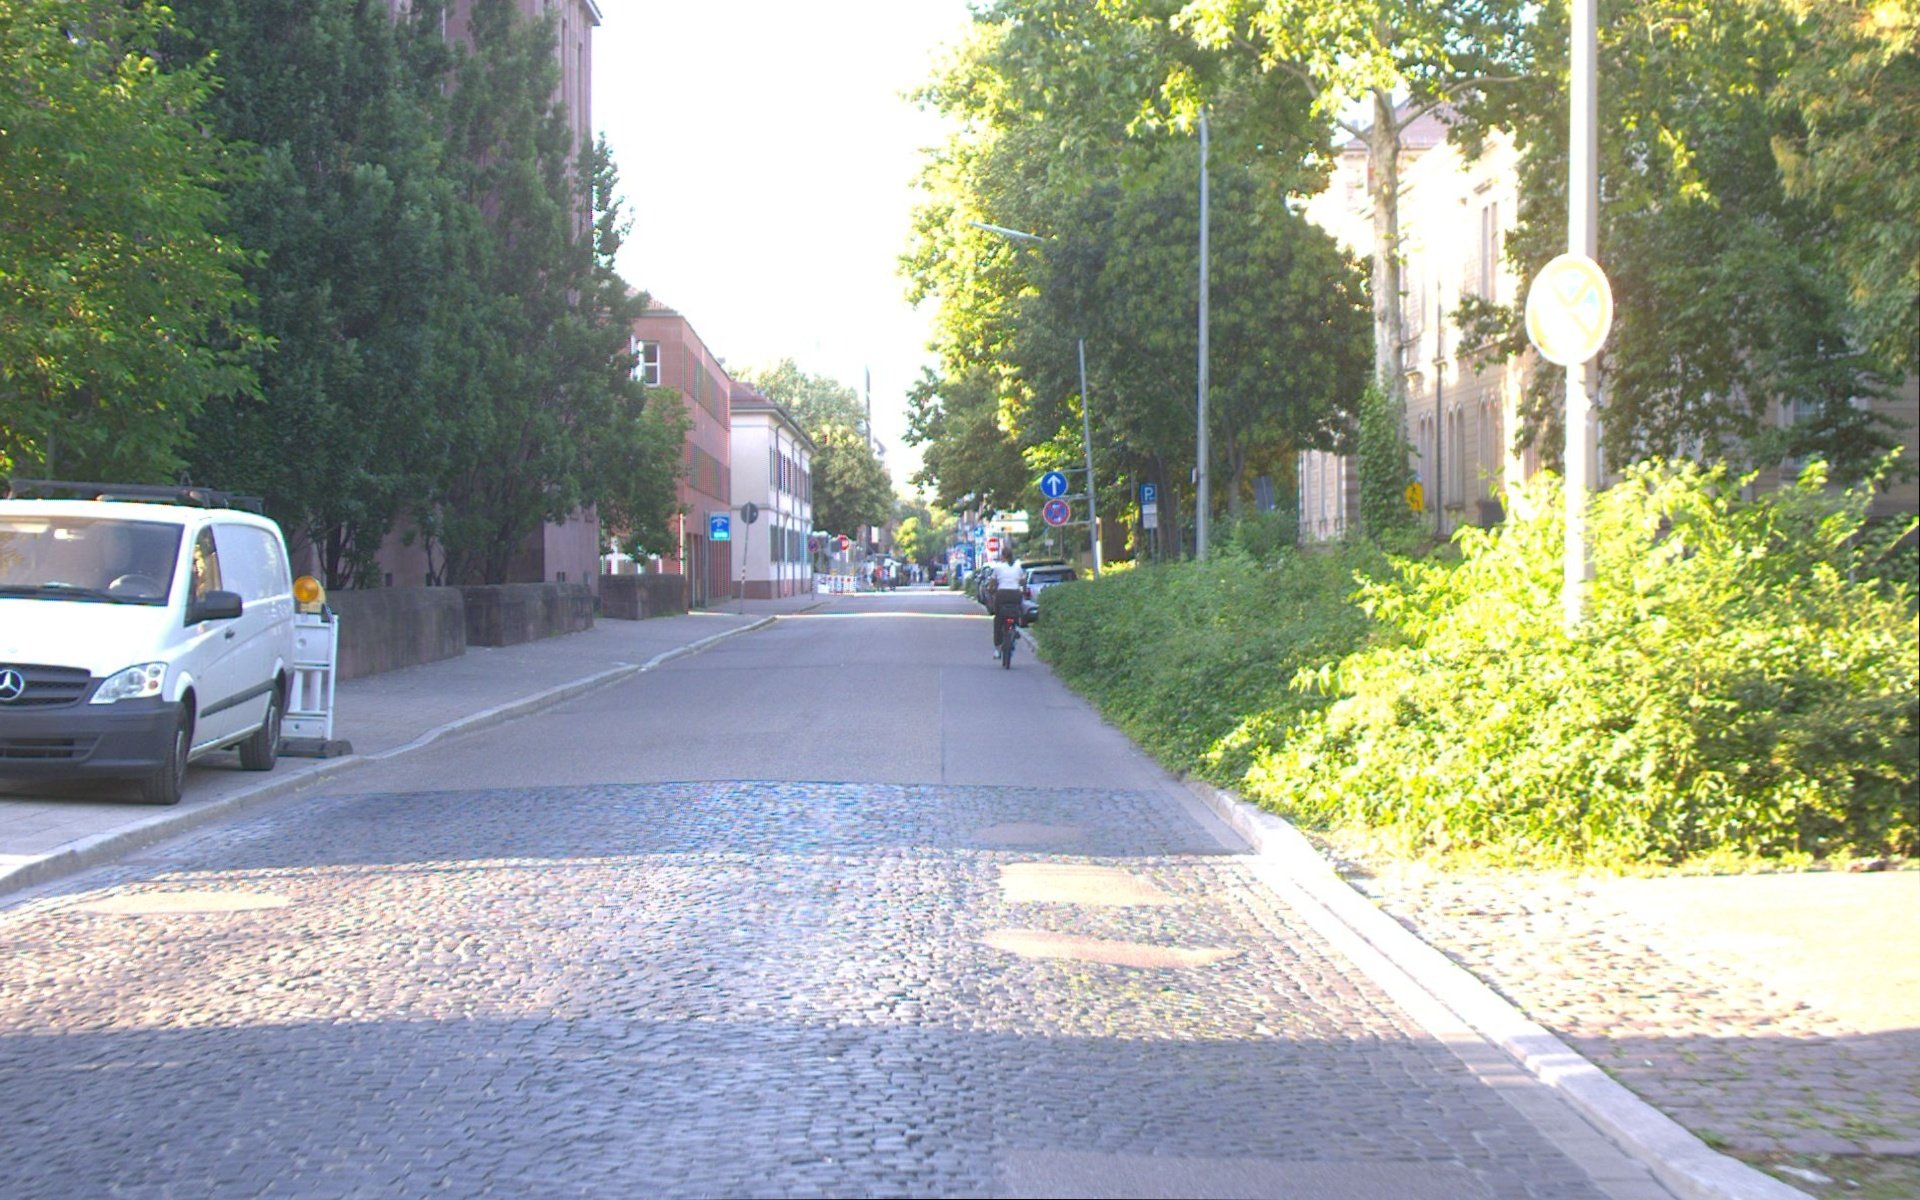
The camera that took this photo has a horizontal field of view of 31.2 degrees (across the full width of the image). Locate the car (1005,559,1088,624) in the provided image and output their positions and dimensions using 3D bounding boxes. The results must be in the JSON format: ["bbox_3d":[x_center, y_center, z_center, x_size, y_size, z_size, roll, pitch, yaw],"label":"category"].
[{"bbox_3d":[2.049,-0.188,82.407,1.685,1.442,3.672,-3,0,-2],"label":"car"}]

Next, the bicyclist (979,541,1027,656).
[{"bbox_3d":[0.628,-0.027,50.504,0.639,1.662,0.843,1,0,-2],"label":"bicyclist"}]

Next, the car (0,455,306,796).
[{"bbox_3d":[-5.759,0.166,23.091,1.882,2.007,5.226,1,-1,-2],"label":"car"}]

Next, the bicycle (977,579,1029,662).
[{"bbox_3d":[0.622,0.287,50.477,0.638,1.189,1.876,1,0,-2],"label":"bicycle"}]

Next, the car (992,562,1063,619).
[{"bbox_3d":[1.865,-0.279,96.010,1.715,1.532,4.049,0,1,-2],"label":"car"}]

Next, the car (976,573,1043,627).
[{"bbox_3d":[1.587,-0.007,112.020,1.993,1.700,4.000,-1,0,-1],"label":"car"}]
